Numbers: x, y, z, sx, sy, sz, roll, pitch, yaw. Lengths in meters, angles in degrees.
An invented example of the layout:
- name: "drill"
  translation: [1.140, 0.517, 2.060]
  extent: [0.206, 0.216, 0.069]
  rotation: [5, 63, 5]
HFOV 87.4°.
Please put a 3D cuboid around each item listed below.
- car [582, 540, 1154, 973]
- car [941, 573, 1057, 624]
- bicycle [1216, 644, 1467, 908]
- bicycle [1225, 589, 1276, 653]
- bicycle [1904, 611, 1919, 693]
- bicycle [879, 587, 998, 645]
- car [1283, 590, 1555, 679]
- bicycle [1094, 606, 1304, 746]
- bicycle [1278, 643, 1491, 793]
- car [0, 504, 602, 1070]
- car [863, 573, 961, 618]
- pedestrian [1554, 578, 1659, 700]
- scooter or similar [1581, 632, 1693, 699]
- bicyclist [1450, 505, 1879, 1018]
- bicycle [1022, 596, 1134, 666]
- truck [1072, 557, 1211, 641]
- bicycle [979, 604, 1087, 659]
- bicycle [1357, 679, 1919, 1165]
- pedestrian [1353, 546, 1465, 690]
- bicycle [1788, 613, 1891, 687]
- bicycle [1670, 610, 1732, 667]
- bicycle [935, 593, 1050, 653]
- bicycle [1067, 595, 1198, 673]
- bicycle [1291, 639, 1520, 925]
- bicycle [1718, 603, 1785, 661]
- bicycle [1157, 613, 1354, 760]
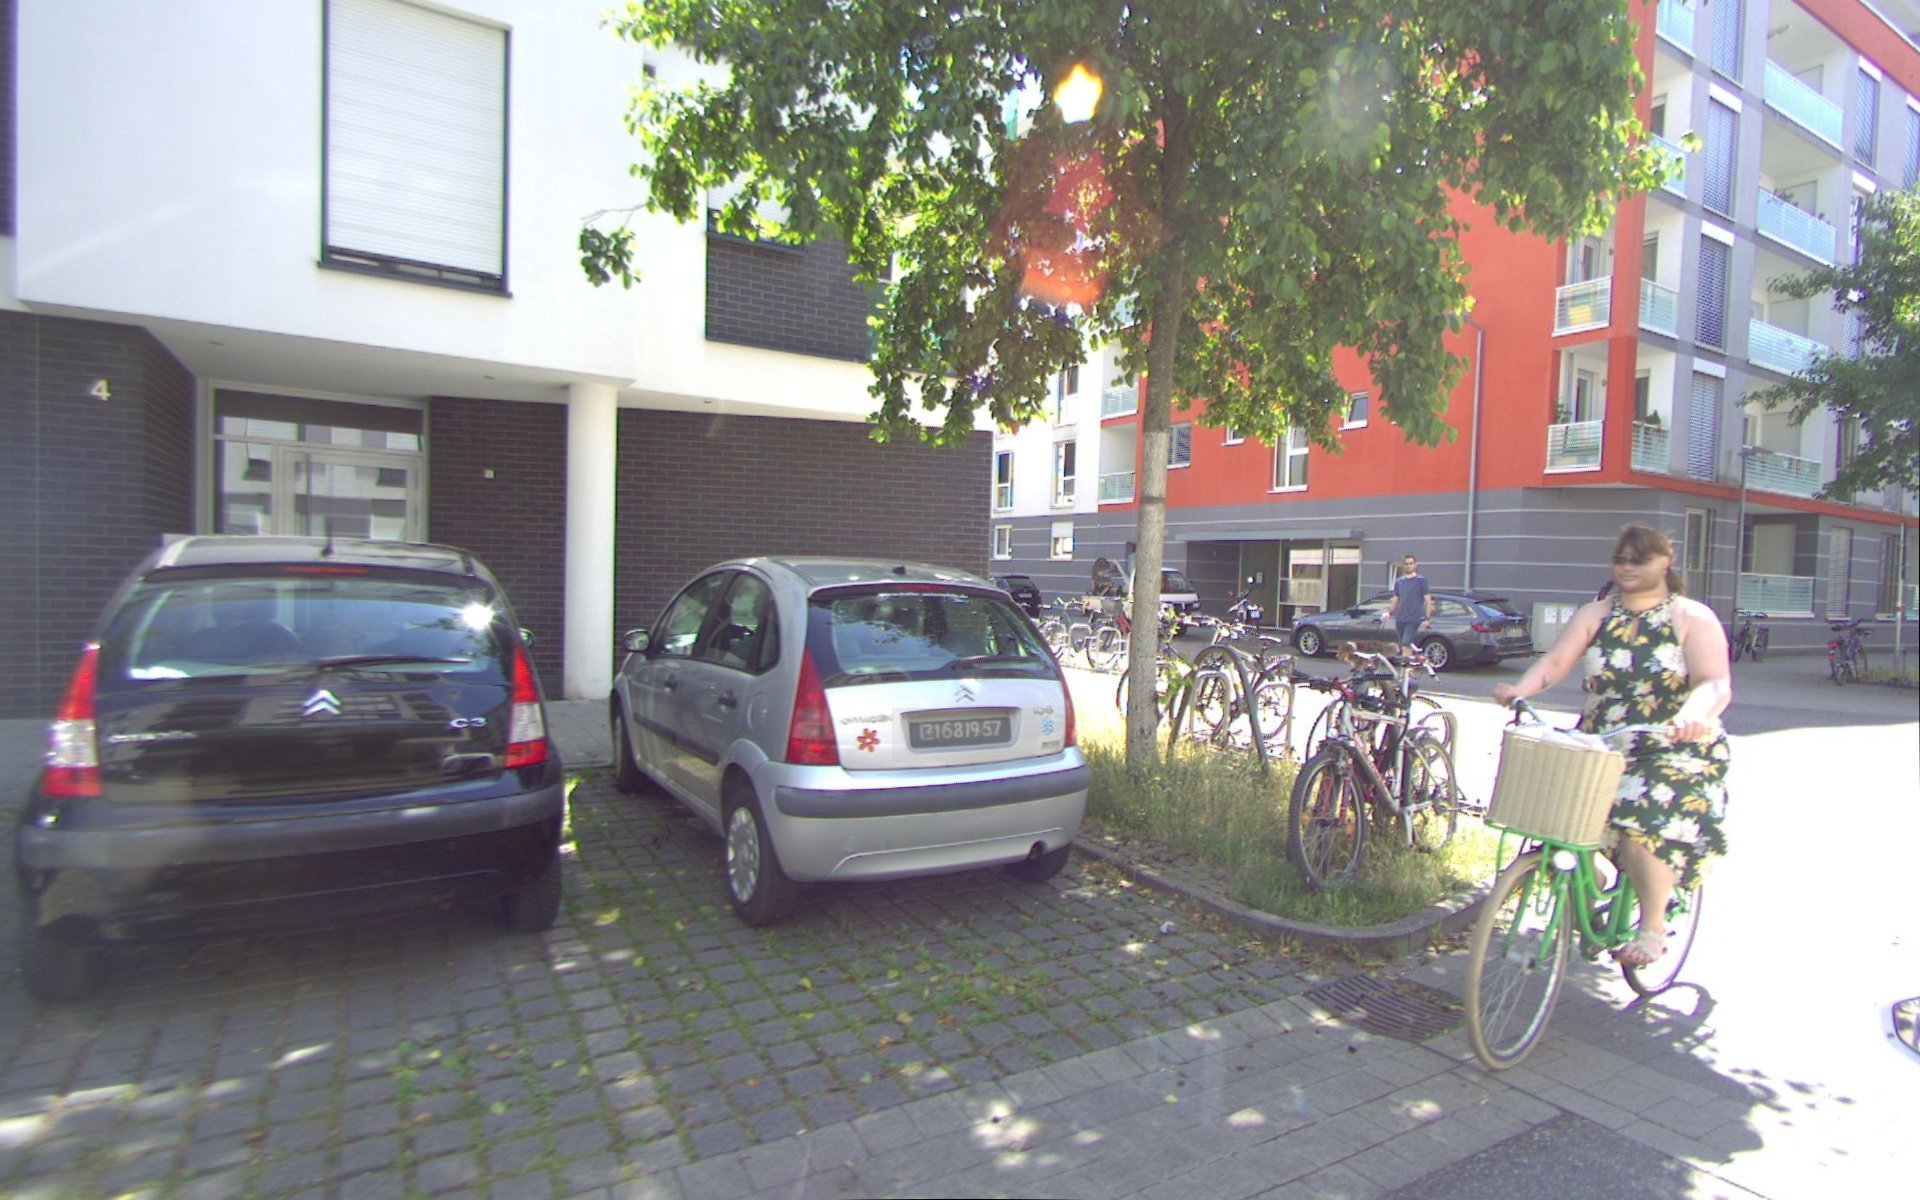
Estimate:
- name: "car"
  translation: [-0.835, 0.489, 5.634]
  extent: [1.810, 1.541, 3.611]
  rotation: [1, 3, -30]
- name: "car"
  translation: [1.207, -0.090, 32.981]
  extent: [1.977, 1.469, 3.967]
  rotation: [0, 3, -30]
- name: "bicycle"
  translation: [2.123, 0.842, 5.422]
  extent: [1.964, 1.143, 0.429]
  rotation: [1, 1, -43]
- name: "bicycle"
  translation: [6.793, 0.456, 23.604]
  extent: [0.669, 1.397, 2.351]
  rotation: [2, 1, 5]
- name: "bicycle"
  translation: [16.664, 0.861, 16.936]
  extent: [1.791, 1.349, 0.590]
  rotation: [0, 2, -31]
- name: "bicycle"
  translation: [-0.423, 0.329, 20.220]
  extent: [2.244, 1.106, 0.806]
  rotation: [1, 1, -26]
- name: "car"
  translation: [8.814, 0.565, 19.701]
  extent: [1.916, 1.402, 4.545]
  rotation: [-1, 3, -33]
- name: "bicycle"
  translation: [2.264, 0.669, 9.464]
  extent: [1.899, 1.189, 0.744]
  rotation: [1, 1, -29]
- name: "bicycle"
  translation: [3.257, 0.861, 7.665]
  extent: [1.656, 1.004, 0.531]
  rotation: [2, 3, -29]
- name: "car"
  translation: [-2.993, 0.493, 4.878]
  extent: [1.778, 1.576, 3.970]
  rotation: [1, 1, -28]
- name: "car"
  translation: [-1.846, -0.194, 37.378]
  extent: [1.977, 1.528, 3.965]
  rotation: [1, 1, -31]
- name: "pedestrian"
  translation: [9.524, 0.552, 14.824]
  extent: [0.822, 1.713, 0.995]
  rotation: [1, 1, -30]
- name: "scooter or similar"
  translation: [10.270, 0.975, 15.252]
  extent: [1.006, 0.900, 1.063]
  rotation: [1, 2, -30]
- name: "bicyclist"
  translation: [2.409, 0.459, 3.500]
  extent: [0.791, 1.479, 0.949]
  rotation: [1, 2, -31]
- name: "bicycle"
  translation: [1.971, 0.502, 16.565]
  extent: [1.973, 1.083, 0.487]
  rotation: [1, 1, -34]
- name: "truck"
  translation: [4.752, -0.103, 26.764]
  extent: [1.543, 2.041, 3.709]
  rotation: [-2, 3, -33]
- name: "bicycle"
  translation: [1.309, 0.541, 17.758]
  extent: [1.986, 0.920, 0.532]
  rotation: [1, 1, -33]
- name: "bicycle"
  translation: [2.449, 0.920, 3.556]
  extent: [2.017, 1.144, 0.893]
  rotation: [1, 1, -32]
- name: "pedestrian"
  translation: [6.658, 0.249, 14.917]
  extent: [1.115, 2.041, 1.005]
  rotation: [1, 1, -28]
- name: "bicycle"
  translation: [15.826, 0.869, 18.062]
  extent: [2.197, 1.186, 0.685]
  rotation: [0, 4, -31]
- name: "bicycle"
  translation: [15.617, 0.783, 21.149]
  extent: [2.090, 1.122, 0.601]
  rotation: [1, 2, -42]
- name: "bicycle"
  translation: [0.633, 0.420, 18.814]
  extent: [2.211, 1.049, 0.703]
  rotation: [1, 1, -38]
- name: "bicycle"
  translation: [2.655, 0.503, 15.351]
  extent: [2.082, 1.106, 0.704]
  rotation: [1, 1, -36]
- name: "bicycle"
  translation: [2.327, 0.824, 5.125]
  extent: [1.808, 1.196, 0.367]
  rotation: [1, 1, -43]
- name: "bicycle"
  translation: [17.794, 0.713, 22.572]
  extent: [1.903, 1.256, 0.548]
  rotation: [1, 1, -32]
- name: "bicycle"
  translation: [2.637, 0.707, 8.866]
  extent: [1.822, 1.151, 0.703]
  rotation: [1, 1, -37]
